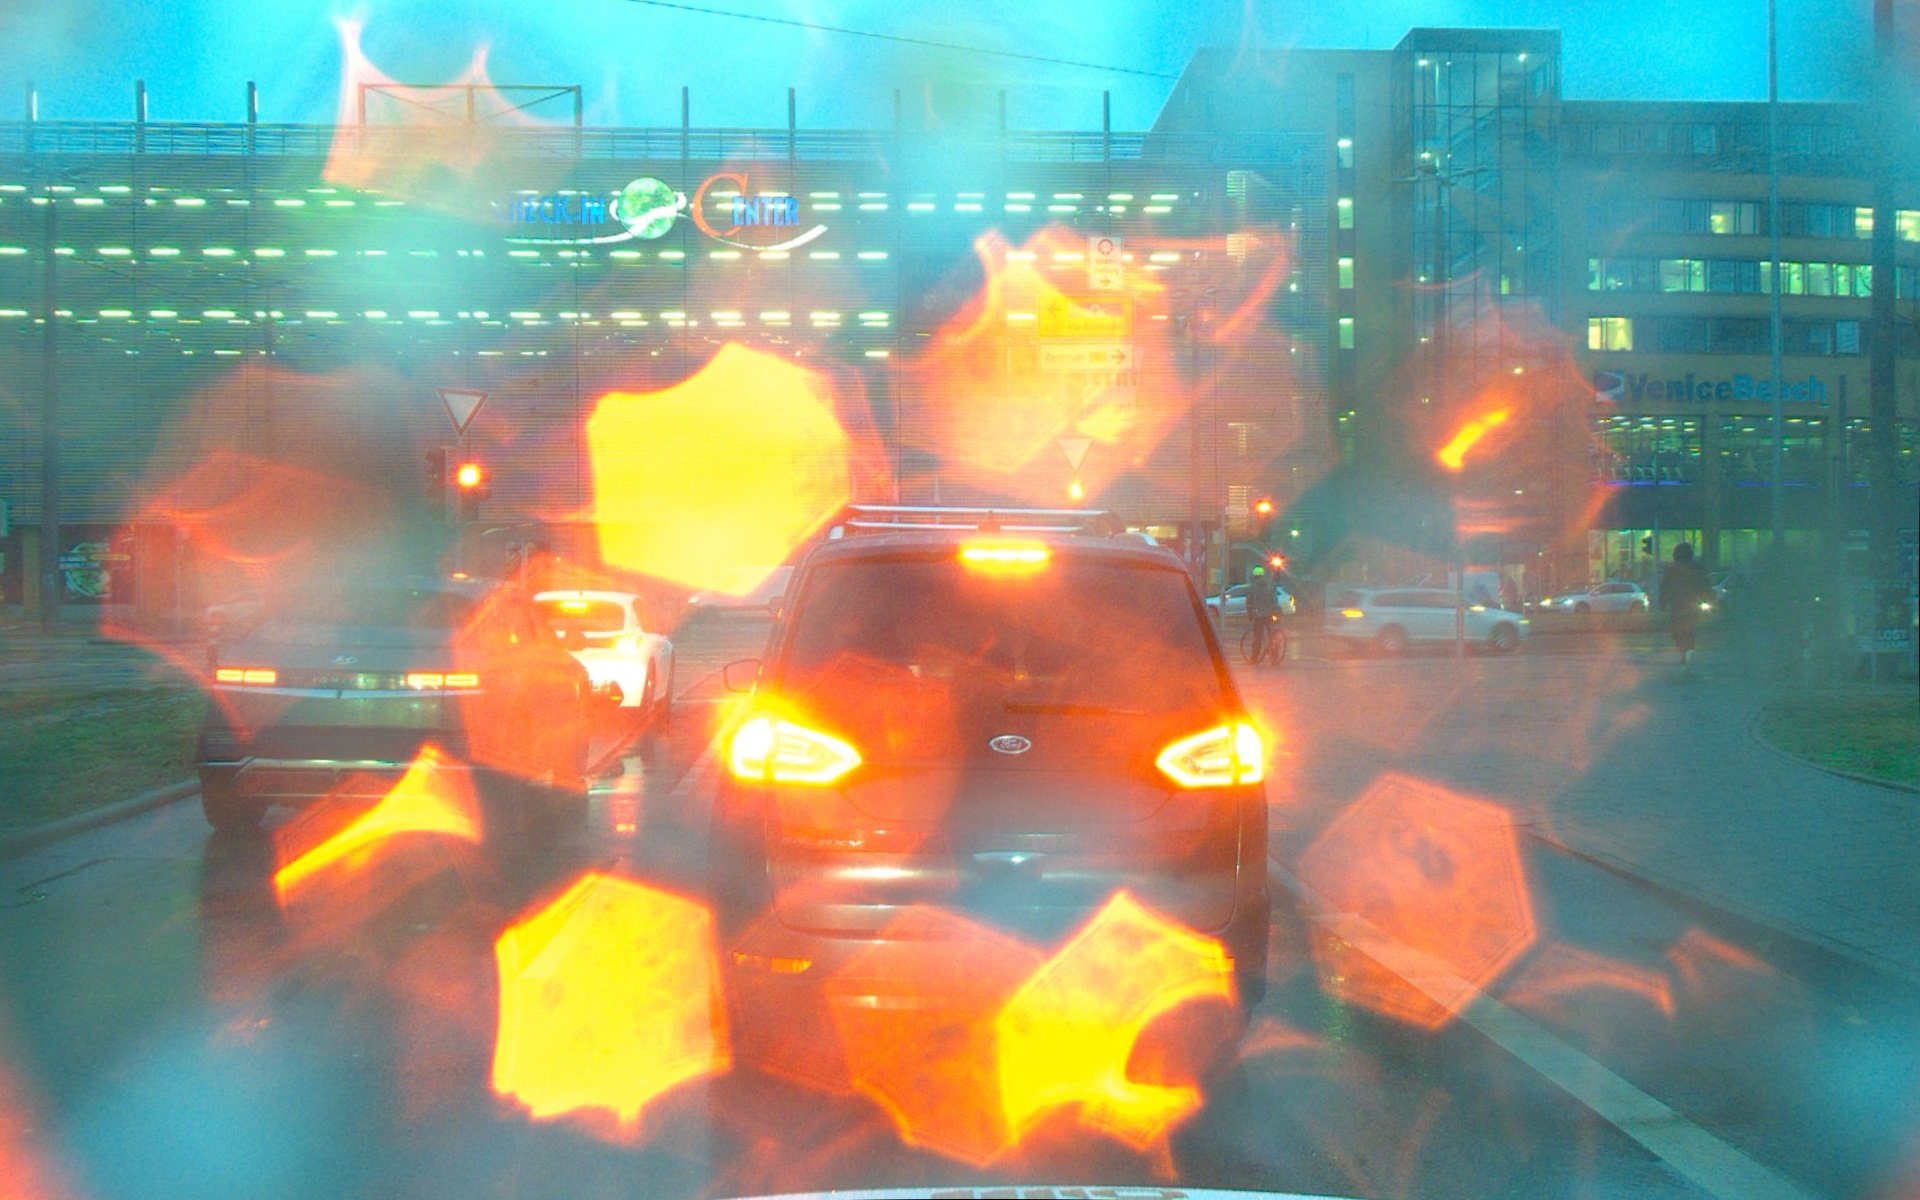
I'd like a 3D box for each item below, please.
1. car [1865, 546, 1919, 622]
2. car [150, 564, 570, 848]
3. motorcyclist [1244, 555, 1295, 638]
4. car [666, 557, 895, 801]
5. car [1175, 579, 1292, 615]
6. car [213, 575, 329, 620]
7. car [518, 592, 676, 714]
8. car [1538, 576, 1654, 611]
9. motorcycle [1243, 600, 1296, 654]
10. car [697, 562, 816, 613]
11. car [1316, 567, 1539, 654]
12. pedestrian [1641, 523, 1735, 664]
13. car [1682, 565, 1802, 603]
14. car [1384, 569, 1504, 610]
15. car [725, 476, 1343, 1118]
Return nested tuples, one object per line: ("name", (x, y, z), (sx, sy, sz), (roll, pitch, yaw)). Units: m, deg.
("car", (25.905, -0.474, 42.906), (3.917, 1.907, 1.994), (-2, 1, -12))
("car", (-3.887, 0.591, 11.434), (1.718, 1.601, 3.996), (0, 0, -5))
("motorcyclist", (5.928, -0.077, 31.744), (0.850, 1.561, 1.109), (0, 0, 5))
("car", (-1.439, 0.567, 13.646), (1.604, 1.726, 3.667), (1, 0, -5))
("car", (10.996, -0.123, 66.694), (4.336, 1.414, 1.797), (-1, 0, -8))
("car", (-27.684, -0.115, 66.577), (3.910, 1.646, 1.736), (2, 1, -6))
("car", (-4.158, 0.548, 19.412), (1.512, 1.273, 4.060), (0, 0, -8))
("car", (26.405, -0.286, 68.722), (4.136, 1.414, 1.797), (-1, 0, -8))
("motorcycle", (5.926, 0.500, 31.730), (0.835, 0.989, 1.582), (0, 0, 5))
("car", (-8.305, -0.516, 67.680), (4.747, 2.035, 1.797), (-1, 0, -8))
("car", (10.655, 0.229, 37.813), (4.583, 1.883, 1.827), (-1, 0, -10))
("pedestrian", (10.463, -0.101, 23.812), (1.146, 1.957, 0.898), (2, 0, 22))
("car", (33.117, -0.678, 70.084), (4.348, 1.561, 1.797), (-1, 0, -8))
("car", (19.676, -0.424, 67.255), (4.336, 1.623, 1.797), (-1, 0, -8))
("car", (0.109, 0.548, 6.797), (1.700, 1.768, 4.244), (2, 0, -3))
